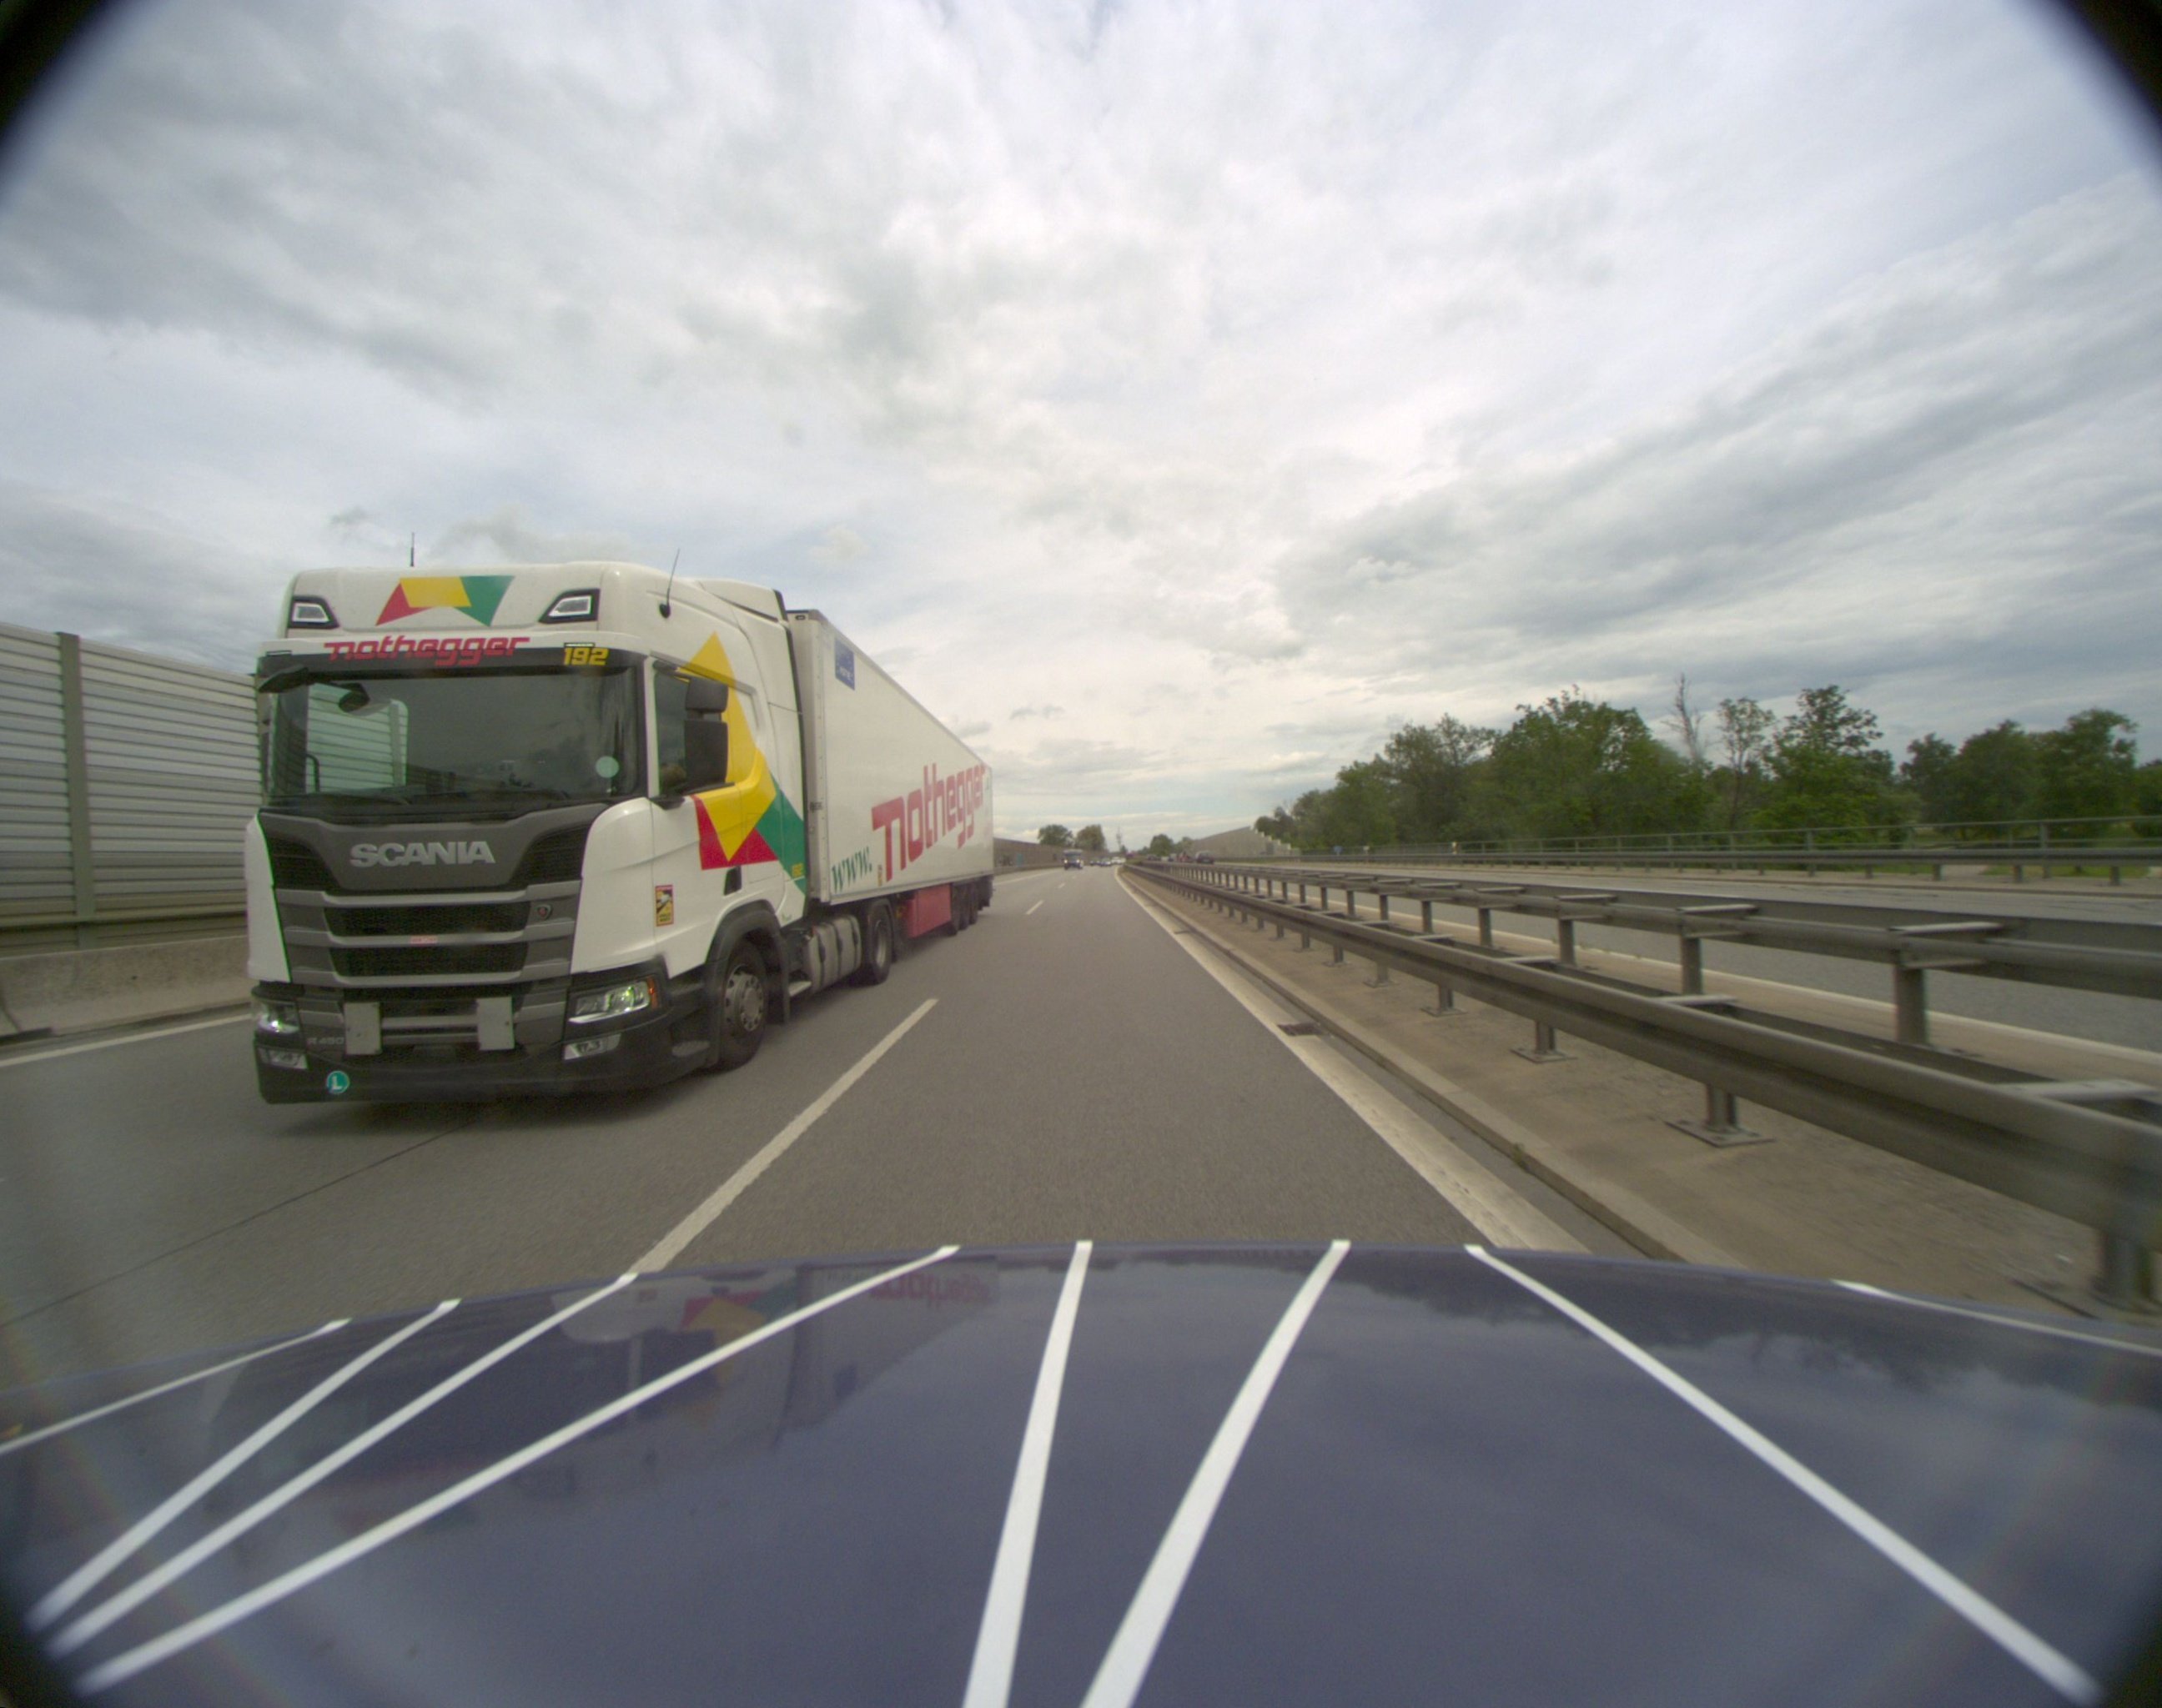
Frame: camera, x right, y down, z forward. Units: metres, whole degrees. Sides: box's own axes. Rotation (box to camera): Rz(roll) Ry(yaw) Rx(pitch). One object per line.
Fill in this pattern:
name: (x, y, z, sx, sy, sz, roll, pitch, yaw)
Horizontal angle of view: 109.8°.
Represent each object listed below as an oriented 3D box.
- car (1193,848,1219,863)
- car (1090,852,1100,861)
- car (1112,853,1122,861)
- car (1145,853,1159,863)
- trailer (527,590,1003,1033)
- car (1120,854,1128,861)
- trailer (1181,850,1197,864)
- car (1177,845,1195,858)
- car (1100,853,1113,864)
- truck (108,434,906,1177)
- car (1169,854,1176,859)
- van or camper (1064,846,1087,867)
car: (12.838, 0.153, 78.205, 1.974, 1.395, 4.710, -1, 0, 2)
car: (2.807, 0.558, 151.928, 1.889, 1.608, 4.002, -1, -1, 5)
car: (7.503, 0.582, 157.471, 1.888, 1.608, 4.003, -1, -1, 6)
car: (11.088, 0.678, 119.292, 1.845, 1.522, 4.836, -1, 0, 2)
trailer: (-3.737, -0.362, 14.308, 2.799, 4.150, 14.104, -2, 0, 1)
car: (10.875, 0.945, 190.964, 1.889, 1.608, 4.001, -2, 1, 6)
trailer: (14.436, 0.448, 101.461, 1.652, 1.738, 3.376, -3, 0, 2)
car: (14.581, -0.335, 105.648, 1.974, 1.751, 4.945, -2, 0, 2)
car: (4.220, 0.760, 124.797, 1.889, 1.608, 4.002, -1, -1, 5)
truck: (-3.779, -0.227, 6.957, 2.762, 3.936, 5.678, -2, 0, 2)
car: (27.899, 0.787, 232.204, 1.815, 1.537, 4.519, -2, -1, 8)
van or camper: (-0.637, 0.375, 103.052, 2.434, 2.680, 7.229, -2, -1, 4)
